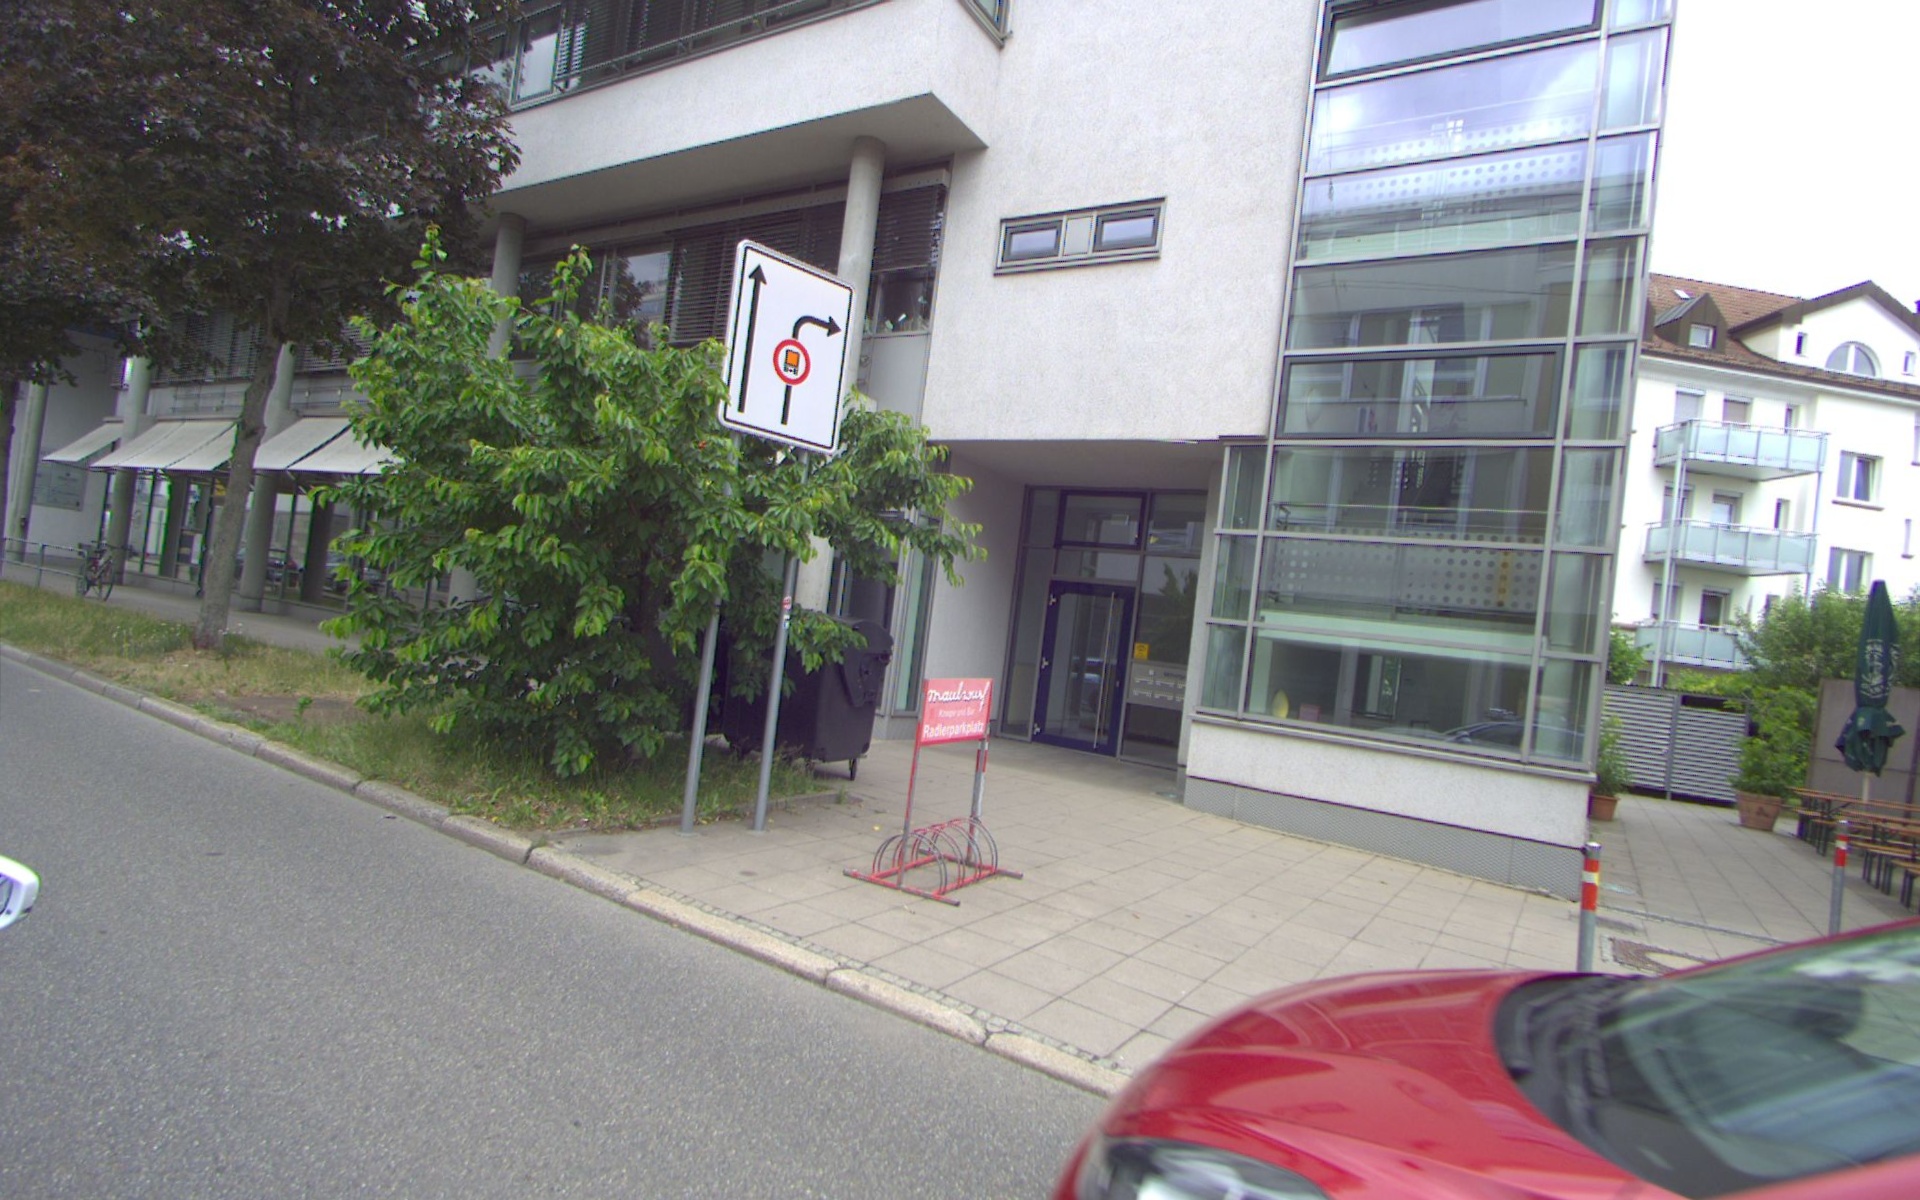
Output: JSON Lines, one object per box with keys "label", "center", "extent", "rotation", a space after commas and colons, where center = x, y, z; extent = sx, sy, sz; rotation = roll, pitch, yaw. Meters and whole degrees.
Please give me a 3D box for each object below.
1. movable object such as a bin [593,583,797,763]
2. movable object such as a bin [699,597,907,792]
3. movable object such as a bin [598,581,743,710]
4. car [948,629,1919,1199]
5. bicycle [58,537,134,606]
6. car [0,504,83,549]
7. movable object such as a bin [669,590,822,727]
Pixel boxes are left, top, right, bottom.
{"label": "movable object such as a bin", "center": [-2.552, 0.679, 9.738], "extent": [1.389, 1.484, 1.129], "rotation": [6, 0, 31]}
{"label": "movable object such as a bin", "center": [-1.399, 0.813, 9.049], "extent": [1.311, 1.484, 1.099], "rotation": [6, 0, 31]}
{"label": "movable object such as a bin", "center": [-3.789, 0.593, 13.189], "extent": [1.311, 1.484, 1.099], "rotation": [6, 0, 31]}
{"label": "car", "center": [2.076, 1.070, 1.099], "extent": [3.935, 1.467, 1.703], "rotation": [6, -4, 33]}
{"label": "bicycle", "center": [-16.273, -0.544, 18.934], "extent": [1.994, 1.098, 0.361], "rotation": [6, -2, 31]}
{"label": "car", "center": [-47.608, -3.847, 50.819], "extent": [1.711, 1.622, 4.559], "rotation": [7, -5, 32]}
{"label": "movable object such as a bin", "center": [-2.652, 0.713, 12.493], "extent": [1.311, 1.484, 1.123], "rotation": [6, 0, 31]}
